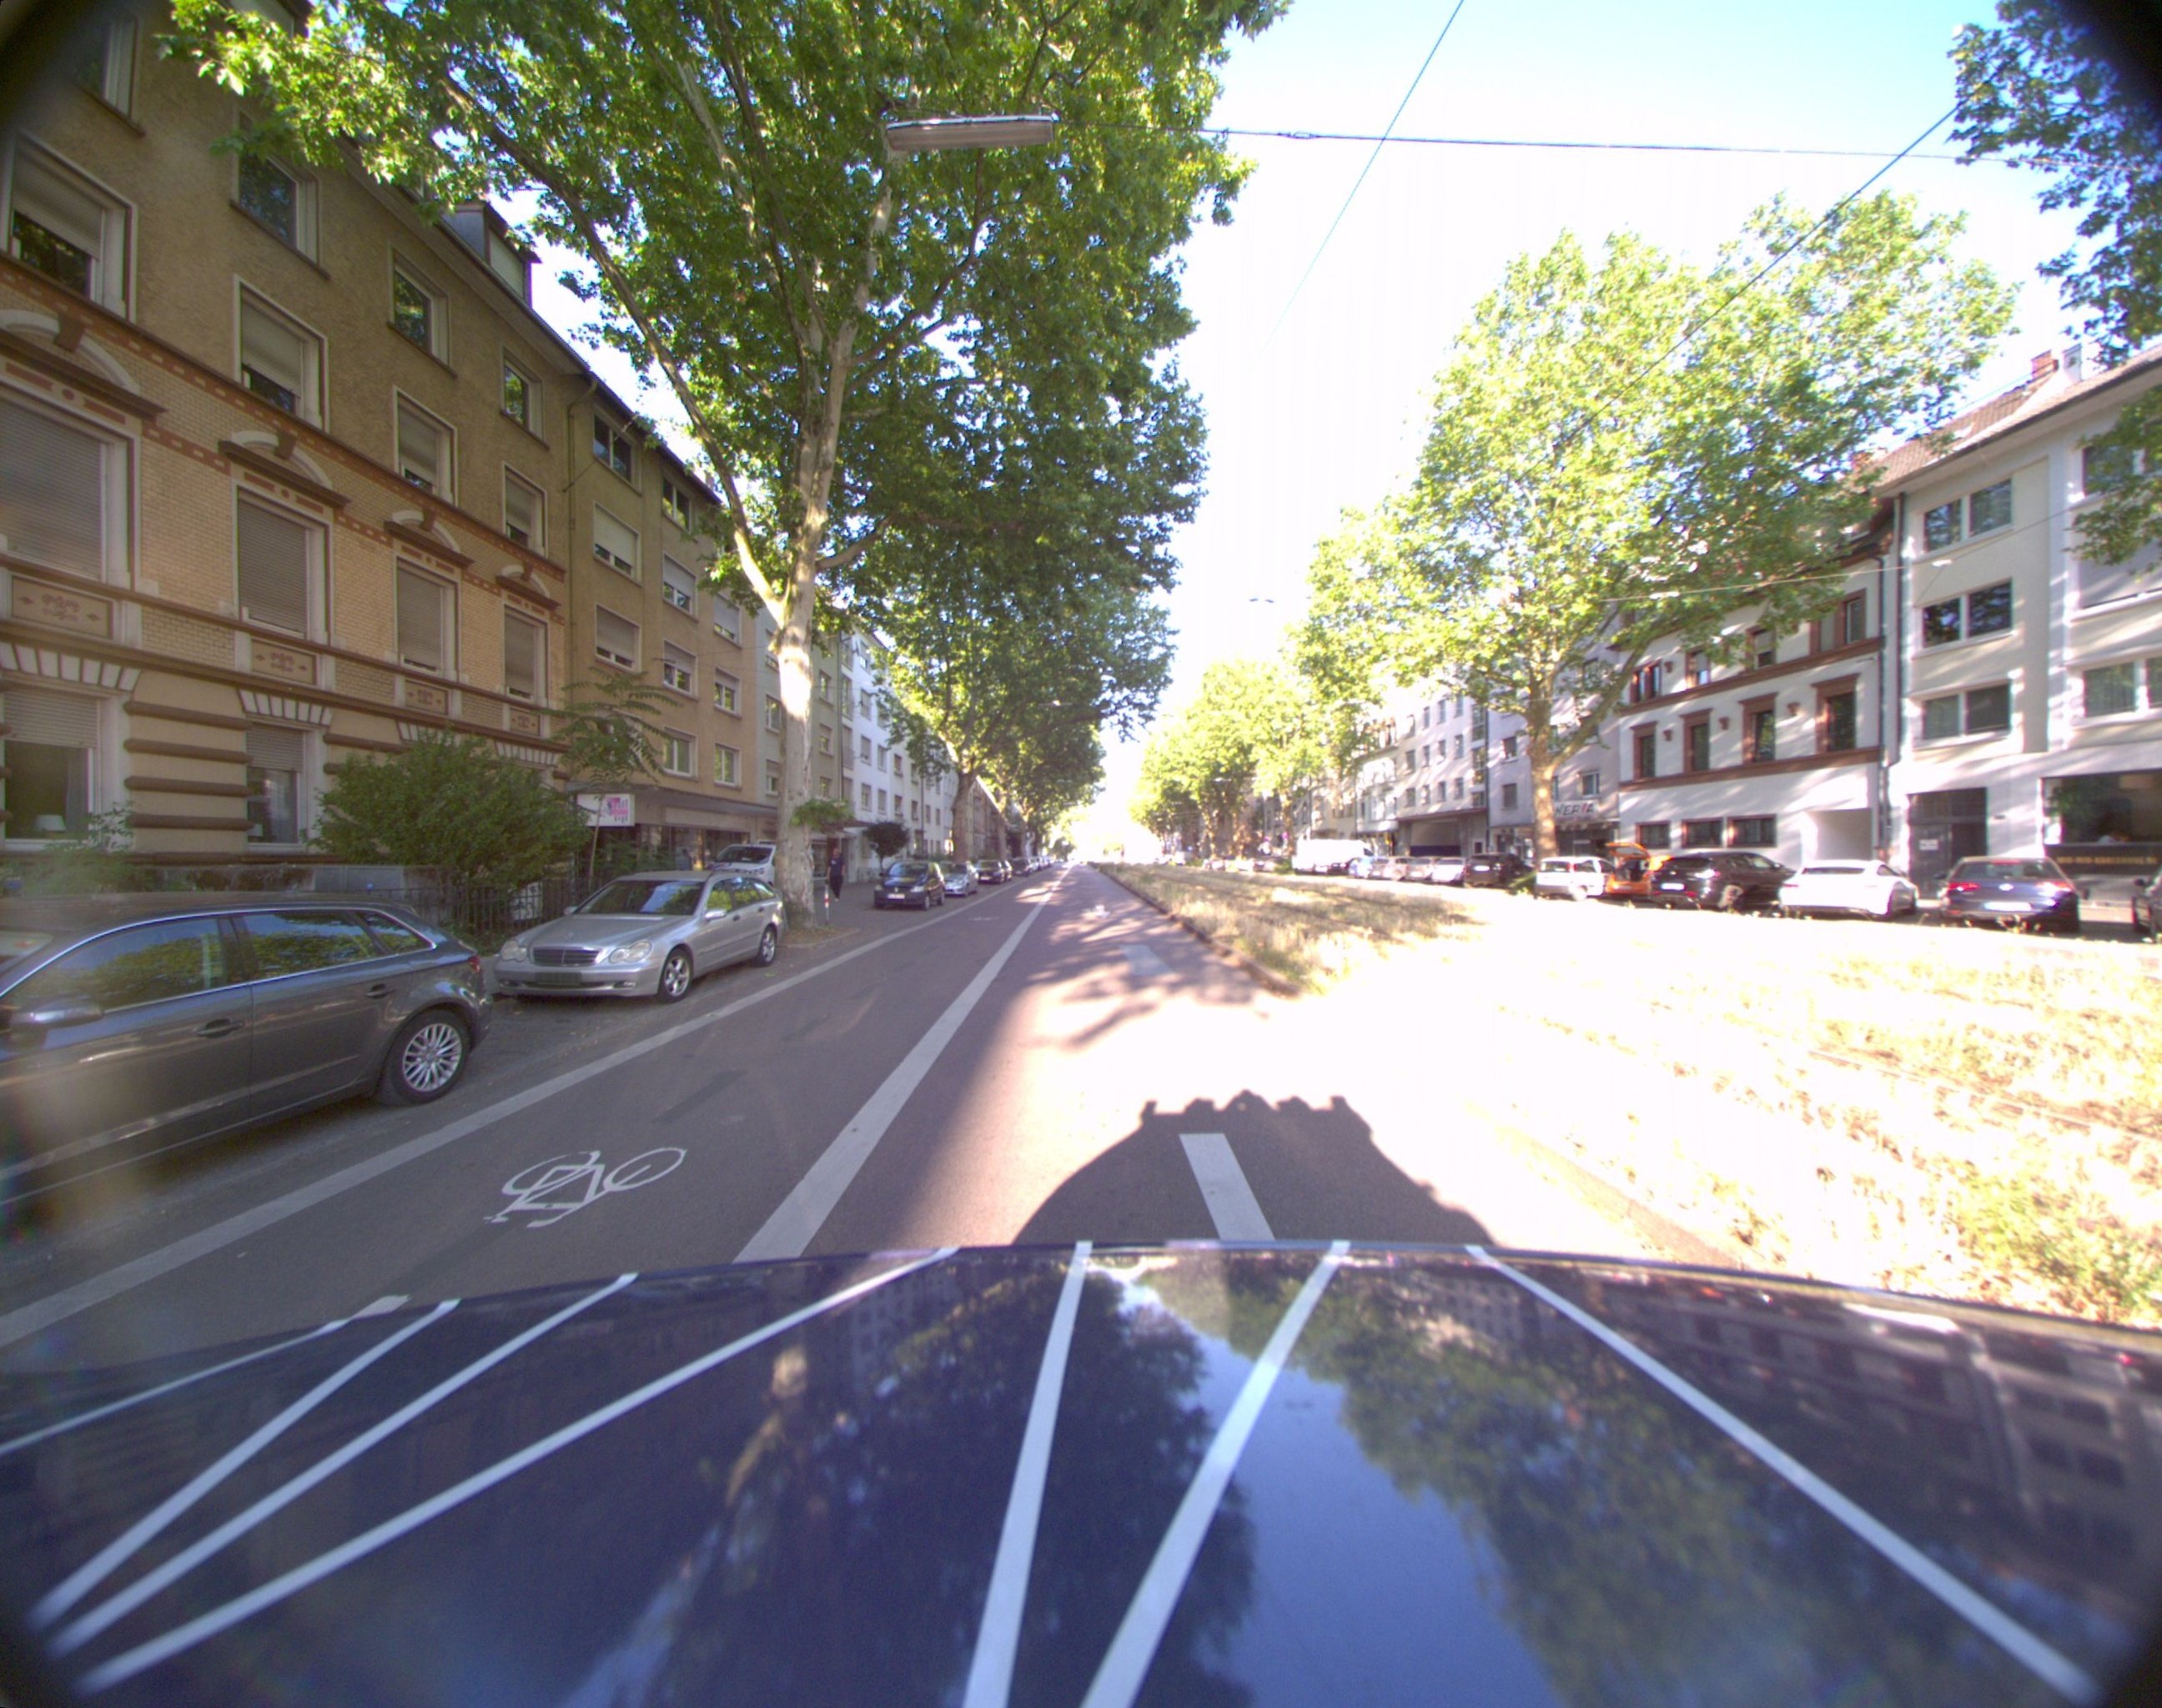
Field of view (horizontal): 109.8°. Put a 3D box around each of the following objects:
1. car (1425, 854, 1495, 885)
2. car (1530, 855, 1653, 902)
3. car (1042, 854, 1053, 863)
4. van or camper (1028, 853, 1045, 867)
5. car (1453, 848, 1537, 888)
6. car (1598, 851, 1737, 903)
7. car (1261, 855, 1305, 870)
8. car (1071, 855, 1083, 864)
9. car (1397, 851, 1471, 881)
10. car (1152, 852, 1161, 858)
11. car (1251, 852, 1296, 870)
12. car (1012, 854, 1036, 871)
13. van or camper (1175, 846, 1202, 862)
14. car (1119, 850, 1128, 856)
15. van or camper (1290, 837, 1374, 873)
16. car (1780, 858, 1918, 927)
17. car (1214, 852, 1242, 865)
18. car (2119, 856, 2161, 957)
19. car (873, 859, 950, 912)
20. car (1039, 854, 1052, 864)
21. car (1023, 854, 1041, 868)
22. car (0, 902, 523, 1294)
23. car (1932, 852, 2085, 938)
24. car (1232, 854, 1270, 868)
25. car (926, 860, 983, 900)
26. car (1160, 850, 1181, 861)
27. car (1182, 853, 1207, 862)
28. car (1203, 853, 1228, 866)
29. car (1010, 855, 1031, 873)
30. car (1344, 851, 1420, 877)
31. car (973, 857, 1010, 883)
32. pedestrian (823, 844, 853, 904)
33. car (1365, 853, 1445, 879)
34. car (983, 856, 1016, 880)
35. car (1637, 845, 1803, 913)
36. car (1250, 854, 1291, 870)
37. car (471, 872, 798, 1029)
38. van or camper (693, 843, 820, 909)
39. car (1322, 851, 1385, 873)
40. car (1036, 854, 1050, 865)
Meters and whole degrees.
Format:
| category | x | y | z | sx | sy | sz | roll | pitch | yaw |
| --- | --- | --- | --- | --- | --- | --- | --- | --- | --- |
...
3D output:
| category | x | y | z | sx | sy | sz | roll | pitch | yaw |
| --- | --- | --- | --- | --- | --- | --- | --- | --- | --- |
| car | 18.918 | 0.738 | 37.878 | 4.008 | 1.377 | 1.907 | -2 | 0 | -45 |
| car | 18.045 | 0.809 | 26.820 | 4.369 | 1.440 | 1.655 | -2 | 1 | -26 |
| car | -5.594 | 0.730 | 127.095 | 1.791 | 1.585 | 4.013 | 1 | 0 | -2 |
| van or camper | -5.407 | 0.735 | 92.708 | 1.790 | 1.710 | 4.379 | 1 | 0 | 1 |
| car | 18.690 | 0.597 | 34.239 | 4.008 | 1.651 | 1.995 | -1 | 0 | -41 |
| car | 19.504 | 0.731 | 25.269 | 4.003 | 1.471 | 1.774 | -3 | 1 | -20 |
| car | 18.704 | 0.796 | 70.267 | 4.014 | 1.349 | 1.797 | 1 | 0 | -37 |
| car | -0.723 | 1.018 | 138.726 | 1.893 | 1.501 | 4.000 | -2 | 1 | 1 |
| car | 19.066 | 0.623 | 40.957 | 4.006 | 1.414 | 1.752 | -3 | 1 | -34 |
| car | 20.193 | 0.258 | 202.882 | 1.998 | 1.412 | 4.000 | -2 | 1 | 2 |
| car | 18.650 | 0.698 | 73.554 | 4.169 | 1.583 | 1.932 | 2 | -1 | -36 |
| car | -5.478 | 0.788 | 73.267 | 1.999 | 1.557 | 4.663 | 2 | 1 | 0 |
| van or camper | 18.366 | -0.017 | 129.725 | 4.371 | 2.386 | 2.196 | -4 | 2 | -40 |
| car | 11.476 | -0.165 | 204.707 | 1.997 | 1.477 | 4.002 | -2 | 1 | 8 |
| van or camper | 18.987 | 0.030 | 57.459 | 5.974 | 2.631 | 2.175 | -1 | 0 | -20 |
| car | 18.657 | 0.857 | 18.409 | 4.212 | 1.325 | 1.718 | -3 | 1 | -36 |
| car | 18.836 | 0.604 | 97.413 | 1.726 | 1.643 | 4.009 | -1 | -1 | 40 |
| car | 19.062 | 0.817 | 12.692 | 4.007 | 1.433 | 1.717 | -3 | 1 | -41 |
| car | -5.421 | 0.965 | 24.726 | 1.658 | 1.536 | 3.999 | 0 | 0 | -1 |
| car | -5.606 | 0.793 | 119.804 | 1.790 | 1.458 | 3.569 | 1 | 0 | 0 |
| car | -5.541 | 0.766 | 86.410 | 1.702 | 1.517 | 4.194 | 0 | 0 | 0 |
| car | -5.176 | 1.069 | 3.665 | 1.714 | 1.388 | 4.321 | 0 | 0 | 1 |
| car | 19.367 | 0.774 | 16.032 | 4.007 | 1.433 | 1.797 | -3 | 1 | -43 |
| car | 18.214 | 0.760 | 81.438 | 3.687 | 1.382 | 1.822 | -1 | 0 | -31 |
| car | -5.305 | 1.047 | 32.482 | 1.699 | 1.533 | 4.776 | 0 | 0 | -1 |
| car | 18.320 | 0.329 | 154.814 | 4.007 | 2.002 | 1.995 | -3 | 1 | -42 |
| car | 18.980 | 0.547 | 127.203 | 4.006 | 1.240 | 1.726 | -4 | 2 | -34 |
| car | 15.049 | 0.599 | 85.165 | 1.825 | 1.382 | 4.483 | 2 | 0 | -1 |
| car | -5.276 | 0.839 | 66.491 | 1.748 | 1.455 | 4.024 | -1 | 0 | -5 |
| car | 18.970 | 0.630 | 47.982 | 3.998 | 1.412 | 1.857 | -3 | 1 | -4 |
| car | -5.312 | 0.907 | 45.681 | 1.713 | 1.407 | 4.363 | 2 | 0 | 0 |
| pedestrian | -8.288 | 0.651 | 25.919 | 0.684 | 2.002 | 1.012 | 0 | 1 | -2 |
| car | 19.177 | 0.706 | 45.088 | 4.002 | 1.483 | 1.948 | 0 | 0 | -13 |
| car | -5.397 | 0.914 | 50.571 | 1.713 | 1.407 | 4.363 | 2 | 0 | 0 |
| car | 18.304 | 0.685 | 21.758 | 4.370 | 1.776 | 1.989 | 1 | 1 | -26 |
| car | 19.224 | 0.783 | 76.934 | 4.008 | 1.524 | 1.821 | 1 | -1 | -36 |
| car | -5.337 | 1.024 | 9.932 | 1.678 | 1.443 | 4.570 | 0 | 0 | -2 |
| van or camper | -10.431 | 0.638 | 24.960 | 1.947 | 1.911 | 5.390 | 0 | 0 | -1 |
| car | 19.711 | 0.568 | 54.950 | 4.004 | 1.482 | 1.996 | 0 | 0 | -22 |
| car | -5.481 | 0.749 | 109.731 | 1.790 | 1.609 | 3.829 | 1 | 0 | 0 |
